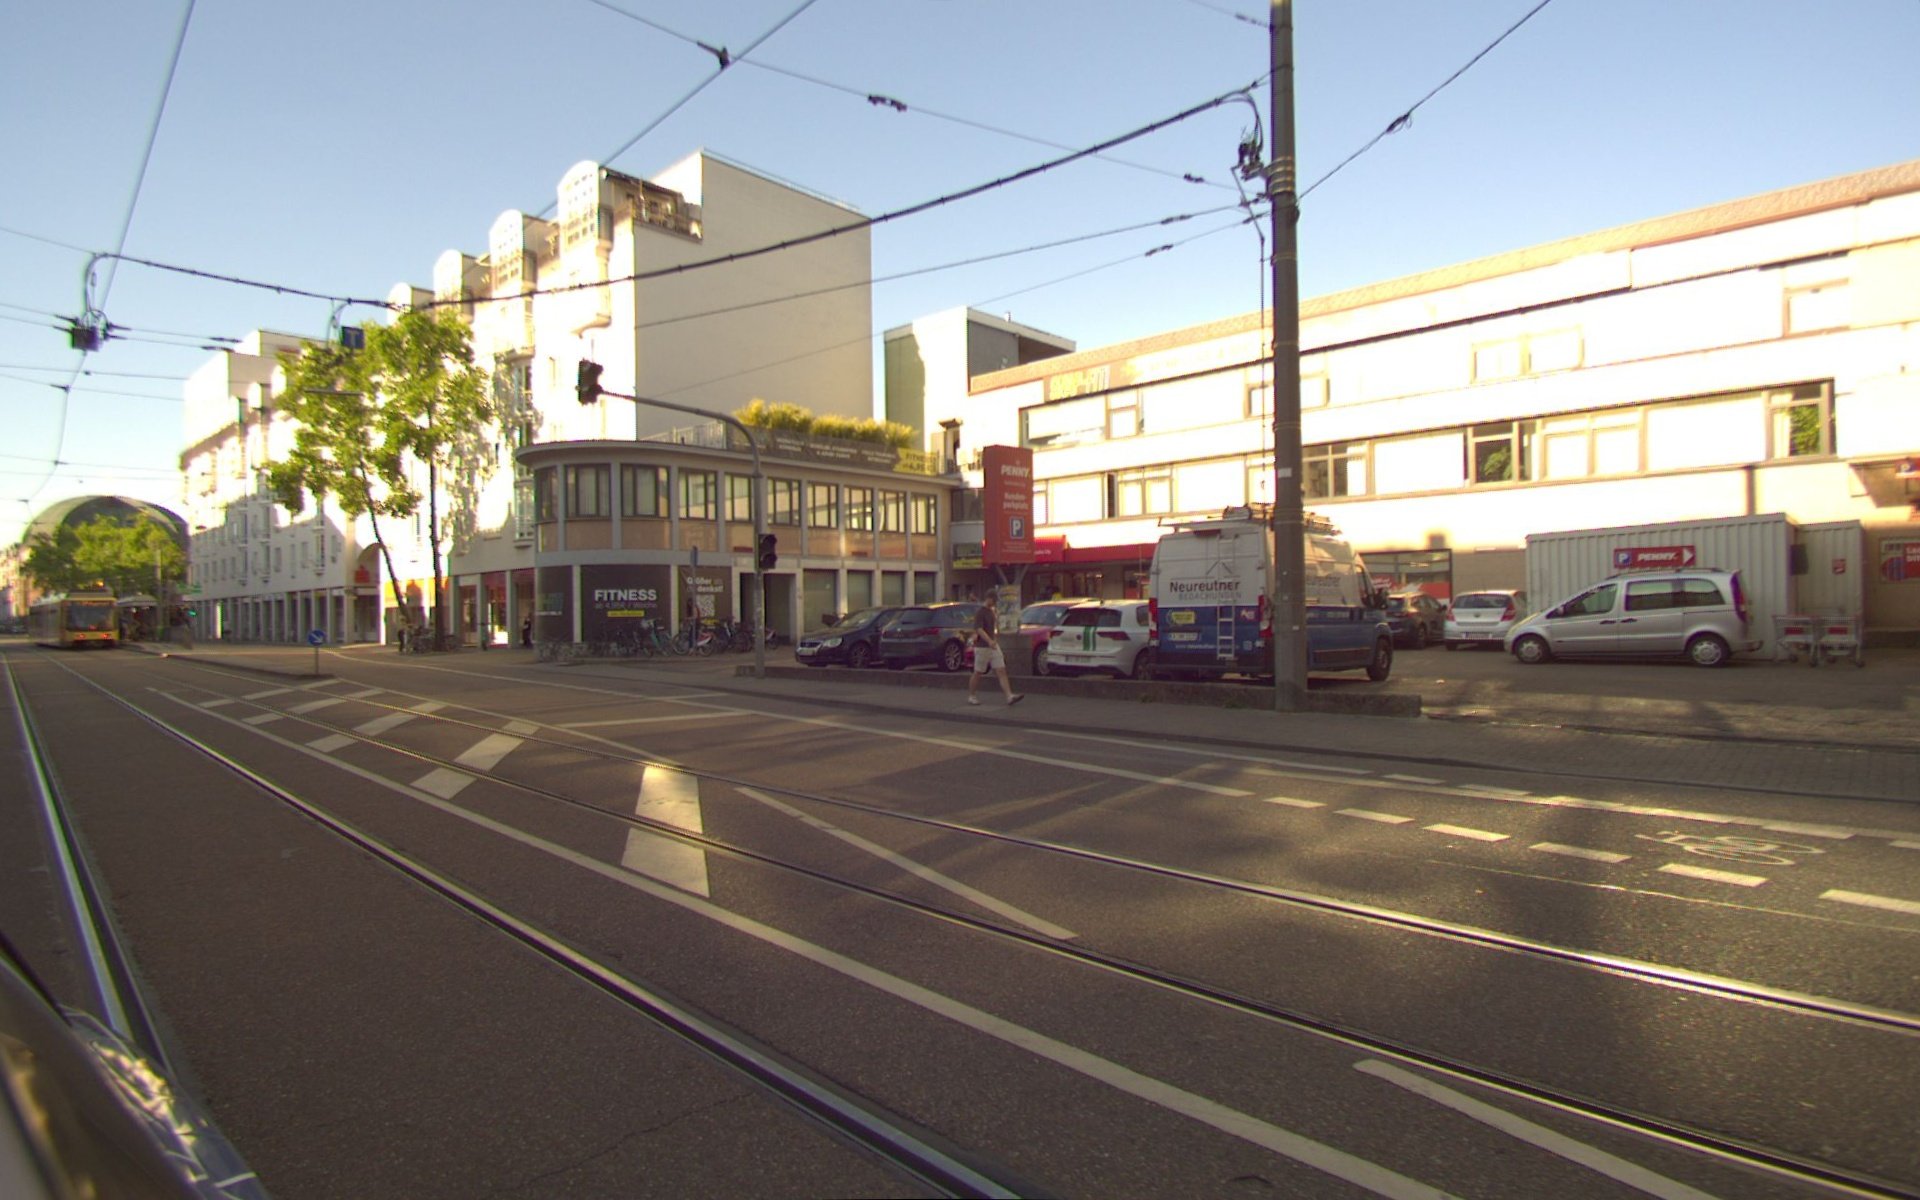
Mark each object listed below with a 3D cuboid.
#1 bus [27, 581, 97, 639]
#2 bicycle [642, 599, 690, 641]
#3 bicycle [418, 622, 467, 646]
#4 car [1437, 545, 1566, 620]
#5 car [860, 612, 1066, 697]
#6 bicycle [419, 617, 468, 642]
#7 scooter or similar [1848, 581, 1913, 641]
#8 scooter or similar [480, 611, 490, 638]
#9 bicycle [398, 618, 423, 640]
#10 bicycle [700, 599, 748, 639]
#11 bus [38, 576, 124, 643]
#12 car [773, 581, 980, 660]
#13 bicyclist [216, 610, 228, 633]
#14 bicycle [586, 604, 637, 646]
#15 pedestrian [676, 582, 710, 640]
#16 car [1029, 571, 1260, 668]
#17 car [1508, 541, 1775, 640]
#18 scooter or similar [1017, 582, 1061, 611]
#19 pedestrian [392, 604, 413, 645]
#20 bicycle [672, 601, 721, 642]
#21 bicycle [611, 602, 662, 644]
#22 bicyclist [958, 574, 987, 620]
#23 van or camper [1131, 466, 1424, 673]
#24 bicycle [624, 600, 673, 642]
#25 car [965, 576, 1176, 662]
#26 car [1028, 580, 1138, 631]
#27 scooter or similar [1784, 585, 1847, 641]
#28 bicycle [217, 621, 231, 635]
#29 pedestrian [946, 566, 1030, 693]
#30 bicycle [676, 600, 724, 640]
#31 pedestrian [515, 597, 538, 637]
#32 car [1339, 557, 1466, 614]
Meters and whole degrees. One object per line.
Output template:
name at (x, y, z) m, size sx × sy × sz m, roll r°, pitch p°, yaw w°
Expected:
bus at (-62.567, 0.681, 70.352) m, size 2.779 × 3.594 × 13.686 m, roll -3°, pitch 1°, yaw -45°
bicycle at (-8.842, 0.605, 30.391) m, size 1.830 × 1.196 × 0.438 m, roll -2°, pitch 0°, yaw 41°
bicycle at (-22.705, 1.488, 44.393) m, size 1.823 × 0.919 × 0.390 m, roll -5°, pitch 1°, yaw -41°
car at (13.566, -0.475, 25.262) m, size 1.999 × 1.713 × 3.946 m, roll -1°, pitch 2°, yaw 41°
car at (0.160, 1.111, 22.193) m, size 1.880 × 1.486 × 4.538 m, roll -2°, pitch 1°, yaw 44°
bicycle at (-22.148, 1.265, 43.418) m, size 1.823 × 0.919 × 0.390 m, roll -5°, pitch 3°, yaw -41°
scooter or similar at (16.318, 0.187, 17.961) m, size 0.809 × 0.992 × 1.256 m, roll -1°, pitch 1°, yaw 41°
scooter or similar at (-20.416, 1.055, 43.502) m, size 0.330 × 1.120 × 1.184 m, roll -2°, pitch 1°, yaw -23°
bicycle at (-23.691, 1.244, 43.645) m, size 1.852 × 0.919 × 0.384 m, roll 0°, pitch 3°, yaw 45°
bicycle at (-7.328, 0.595, 31.398) m, size 1.830 × 1.196 × 0.443 m, roll -2°, pitch 0°, yaw 41°
bus at (-52.945, 0.563, 60.784) m, size 13.684 × 3.594 × 2.780 m, roll -1°, pitch 1°, yaw 45°
car at (-1.869, 0.422, 23.990) m, size 1.880 × 1.595 × 4.840 m, roll -2°, pitch 1°, yaw 44°
bicyclist at (-55.836, 1.610, 76.547) m, size 0.808 × 1.712 × 0.508 m, roll -1°, pitch 3°, yaw 44°
bicycle at (-10.307, 0.735, 29.904) m, size 1.829 × 1.196 × 0.441 m, roll -2°, pitch 0°, yaw 38°
pedestrian at (-8.001, 0.324, 30.354) m, size 0.683 × 1.710 × 0.674 m, roll -2°, pitch 0°, yaw 42°
car at (3.443, 0.279, 18.274) m, size 1.880 × 1.486 × 4.538 m, roll -2°, pitch 1°, yaw 44°
car at (13.323, -0.174, 19.911) m, size 4.120 × 1.749 × 1.972 m, roll -1°, pitch 1°, yaw 42°
scooter or similar at (2.815, -0.119, 36.186) m, size 1.247 × 0.968 × 0.903 m, roll -1°, pitch 2°, yaw 42°
pedestrian at (-24.157, 1.046, 43.893) m, size 0.621 × 1.729 × 0.828 m, roll -2°, pitch 1°, yaw -19°
bicycle at (-7.881, 0.637, 30.236) m, size 1.830 × 1.196 × 0.443 m, roll -2°, pitch 0°, yaw 41°
bicycle at (-9.554, 0.687, 29.866) m, size 1.829 × 1.196 × 0.436 m, roll -2°, pitch 0°, yaw 38°
bicyclist at (0.433, -0.108, 34.902) m, size 0.688 × 1.561 × 0.830 m, roll -2°, pitch 0°, yaw 27°
van or camper at (5.409, -0.481, 16.685) m, size 2.316 × 2.848 × 5.544 m, roll -2°, pitch 1°, yaw 44°
bicycle at (-9.313, 0.628, 30.227) m, size 1.830 × 1.196 × 0.443 m, roll -2°, pitch 0°, yaw 41°
car at (2.356, 0.327, 20.653) m, size 1.880 × 1.486 × 4.538 m, roll -2°, pitch 1°, yaw 44°
car at (4.110, 0.148, 33.116) m, size 1.873 × 1.486 × 4.555 m, roll -2°, pitch 1°, yaw 31°
scooter or similar at (15.664, 0.218, 18.532) m, size 0.848 × 0.961 × 1.273 m, roll -1°, pitch 1°, yaw 41°
bicycle at (-55.767, 2.111, 76.640) m, size 1.727 × 0.996 × 0.511 m, roll -1°, pitch 3°, yaw 44°
pedestrian at (0.429, 0.431, 15.419) m, size 0.909 × 1.846 × 0.824 m, roll -2°, pitch 0°, yaw 43°
bicycle at (-8.047, 0.632, 31.234) m, size 1.830 × 1.196 × 0.443 m, roll -2°, pitch 0°, yaw 41°
pedestrian at (-19.011, 0.741, 44.401) m, size 0.623 × 1.729 × 0.825 m, roll -2°, pitch 1°, yaw -45°
car at (11.796, -0.404, 26.880) m, size 1.999 × 1.364 × 3.946 m, roll -1°, pitch 2°, yaw 41°
